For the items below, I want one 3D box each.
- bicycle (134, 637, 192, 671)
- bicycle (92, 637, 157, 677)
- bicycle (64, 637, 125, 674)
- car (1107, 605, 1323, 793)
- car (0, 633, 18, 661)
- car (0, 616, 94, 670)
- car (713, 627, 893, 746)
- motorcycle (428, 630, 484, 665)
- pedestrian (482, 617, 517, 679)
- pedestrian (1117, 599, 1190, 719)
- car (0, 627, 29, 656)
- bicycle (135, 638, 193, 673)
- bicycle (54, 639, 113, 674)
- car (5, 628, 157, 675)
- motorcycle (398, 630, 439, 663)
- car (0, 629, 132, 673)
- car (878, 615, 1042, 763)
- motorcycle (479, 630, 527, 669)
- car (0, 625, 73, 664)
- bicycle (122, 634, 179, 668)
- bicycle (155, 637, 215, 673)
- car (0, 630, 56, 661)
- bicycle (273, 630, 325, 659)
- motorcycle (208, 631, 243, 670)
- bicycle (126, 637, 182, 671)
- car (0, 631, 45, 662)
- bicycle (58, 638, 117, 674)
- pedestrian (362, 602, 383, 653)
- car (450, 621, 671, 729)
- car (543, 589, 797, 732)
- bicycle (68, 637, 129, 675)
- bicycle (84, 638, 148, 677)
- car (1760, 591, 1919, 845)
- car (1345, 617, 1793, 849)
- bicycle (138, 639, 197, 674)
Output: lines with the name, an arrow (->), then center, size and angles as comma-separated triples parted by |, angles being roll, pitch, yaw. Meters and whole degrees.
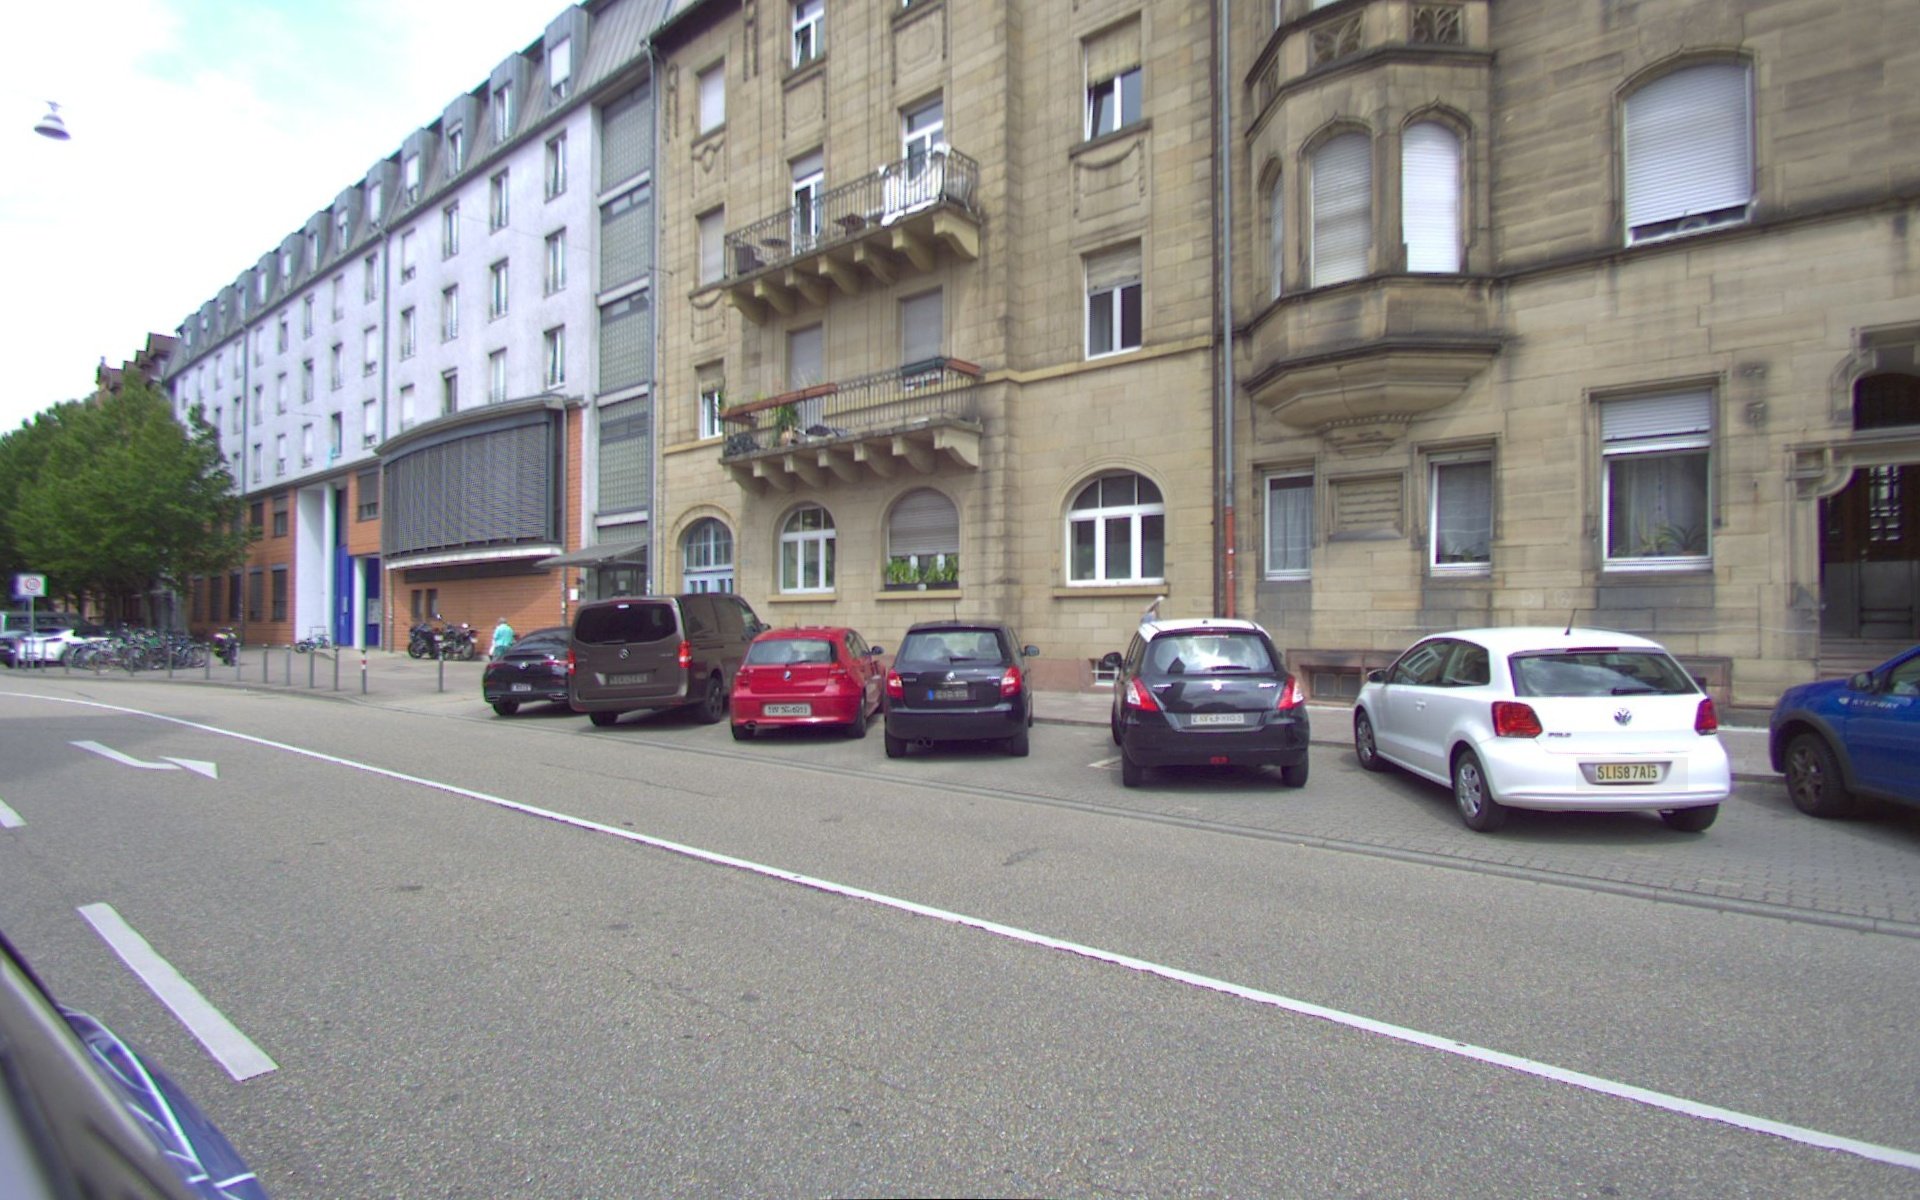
bicycle -> -25.236, 1.708, 32.064 | 0.402, 1.034, 1.390 | -2, -2, 43
bicycle -> -24.229, 1.643, 29.346 | 0.402, 1.046, 1.391 | -2, 0, 43
bicycle -> -26.984, 1.715, 31.562 | 0.402, 1.034, 1.391 | -2, 0, 43
car -> 2.469, 0.889, 10.638 | 1.776, 1.576, 4.001 | -1, -2, 9
car -> -55.163, 2.632, 56.236 | 1.671, 1.580, 3.996 | -1, -2, 7
car -> -37.070, 1.662, 40.060 | 1.841, 2.013, 3.993 | -1, 0, 10
car -> -2.020, 1.093, 14.118 | 1.772, 1.420, 4.009 | 0, -2, 2
motorcycle -> -15.743, 1.472, 31.576 | 1.959, 1.057, 0.579 | -2, -1, 30
pedestrian -> -11.407, 1.184, 25.049 | 0.652, 1.497, 0.509 | 1, -2, -44
pedestrian -> 2.718, 0.805, 14.200 | 0.678, 1.607, 0.783 | -2, 0, 41
car -> -53.108, 2.242, 54.659 | 1.671, 1.580, 3.996 | -1, -2, 7
bicycle -> -24.913, 1.729, 31.693 | 0.402, 1.034, 1.390 | -2, -2, 43
bicycle -> -28.532, 1.816, 32.948 | 0.402, 1.034, 1.391 | -2, 0, 43
car -> -30.510, 1.755, 35.294 | 1.583, 1.557, 3.997 | -1, -2, 7
motorcycle -> -17.676, 1.511, 33.034 | 1.655, 1.057, 0.577 | -2, -1, 40
car -> -32.662, 1.809, 36.552 | 1.697, 1.480, 4.307 | -1, -2, 7
car -> 0.151, 0.972, 12.454 | 1.611, 1.514, 3.989 | -1, -2, 6
motorcycle -> -13.089, 1.407, 28.987 | 1.793, 1.057, 0.577 | -2, -1, 42
car -> -41.190, 1.935, 43.900 | 1.692, 1.627, 3.996 | -1, -2, 7
bicycle -> -26.272, 1.639, 32.860 | 0.402, 1.034, 1.390 | -2, -2, 43
bicycle -> -23.461, 1.660, 30.656 | 0.402, 1.034, 1.390 | -2, -2, 43
car -> -45.352, 2.156, 47.725 | 1.577, 1.400, 3.996 | -1, -2, 7
bicycle -> -26.210, 1.757, 40.136 | 1.590, 0.933, 0.933 | -6, 2, -37
motorcycle -> -23.148, 1.583, 31.883 | 1.779, 1.181, 0.577 | -2, -1, 43
bicycle -> -25.905, 1.726, 32.538 | 0.402, 1.034, 1.390 | -2, -2, 43
car -> -47.094, 2.264, 49.016 | 1.671, 1.465, 3.996 | -1, -2, 7
bicycle -> -27.929, 1.781, 32.411 | 0.402, 1.034, 1.391 | -2, 0, 43
pedestrian -> -23.649, 1.117, 40.750 | 0.718, 2.029, 0.785 | 1, -2, -29
car -> -6.805, 1.203, 17.870 | 1.874, 1.420, 4.669 | -2, 1, 2
car -> -4.376, 0.891, 16.344 | 2.096, 1.924, 5.260 | -1, -2, 7
bicycle -> -26.499, 1.709, 31.141 | 0.402, 1.046, 1.391 | -2, 0, 43
bicycle -> -24.921, 1.680, 29.907 | 0.402, 1.046, 1.391 | -2, 0, 43
car -> 7.094, 0.756, 6.104 | 1.703, 1.664, 3.772 | -1, -2, 5
car -> 4.671, 0.916, 8.473 | 1.720, 1.493, 3.680 | -1, -2, 5
bicycle -> -24.526, 1.737, 31.321 | 0.402, 1.034, 1.390 | -2, -2, 43
